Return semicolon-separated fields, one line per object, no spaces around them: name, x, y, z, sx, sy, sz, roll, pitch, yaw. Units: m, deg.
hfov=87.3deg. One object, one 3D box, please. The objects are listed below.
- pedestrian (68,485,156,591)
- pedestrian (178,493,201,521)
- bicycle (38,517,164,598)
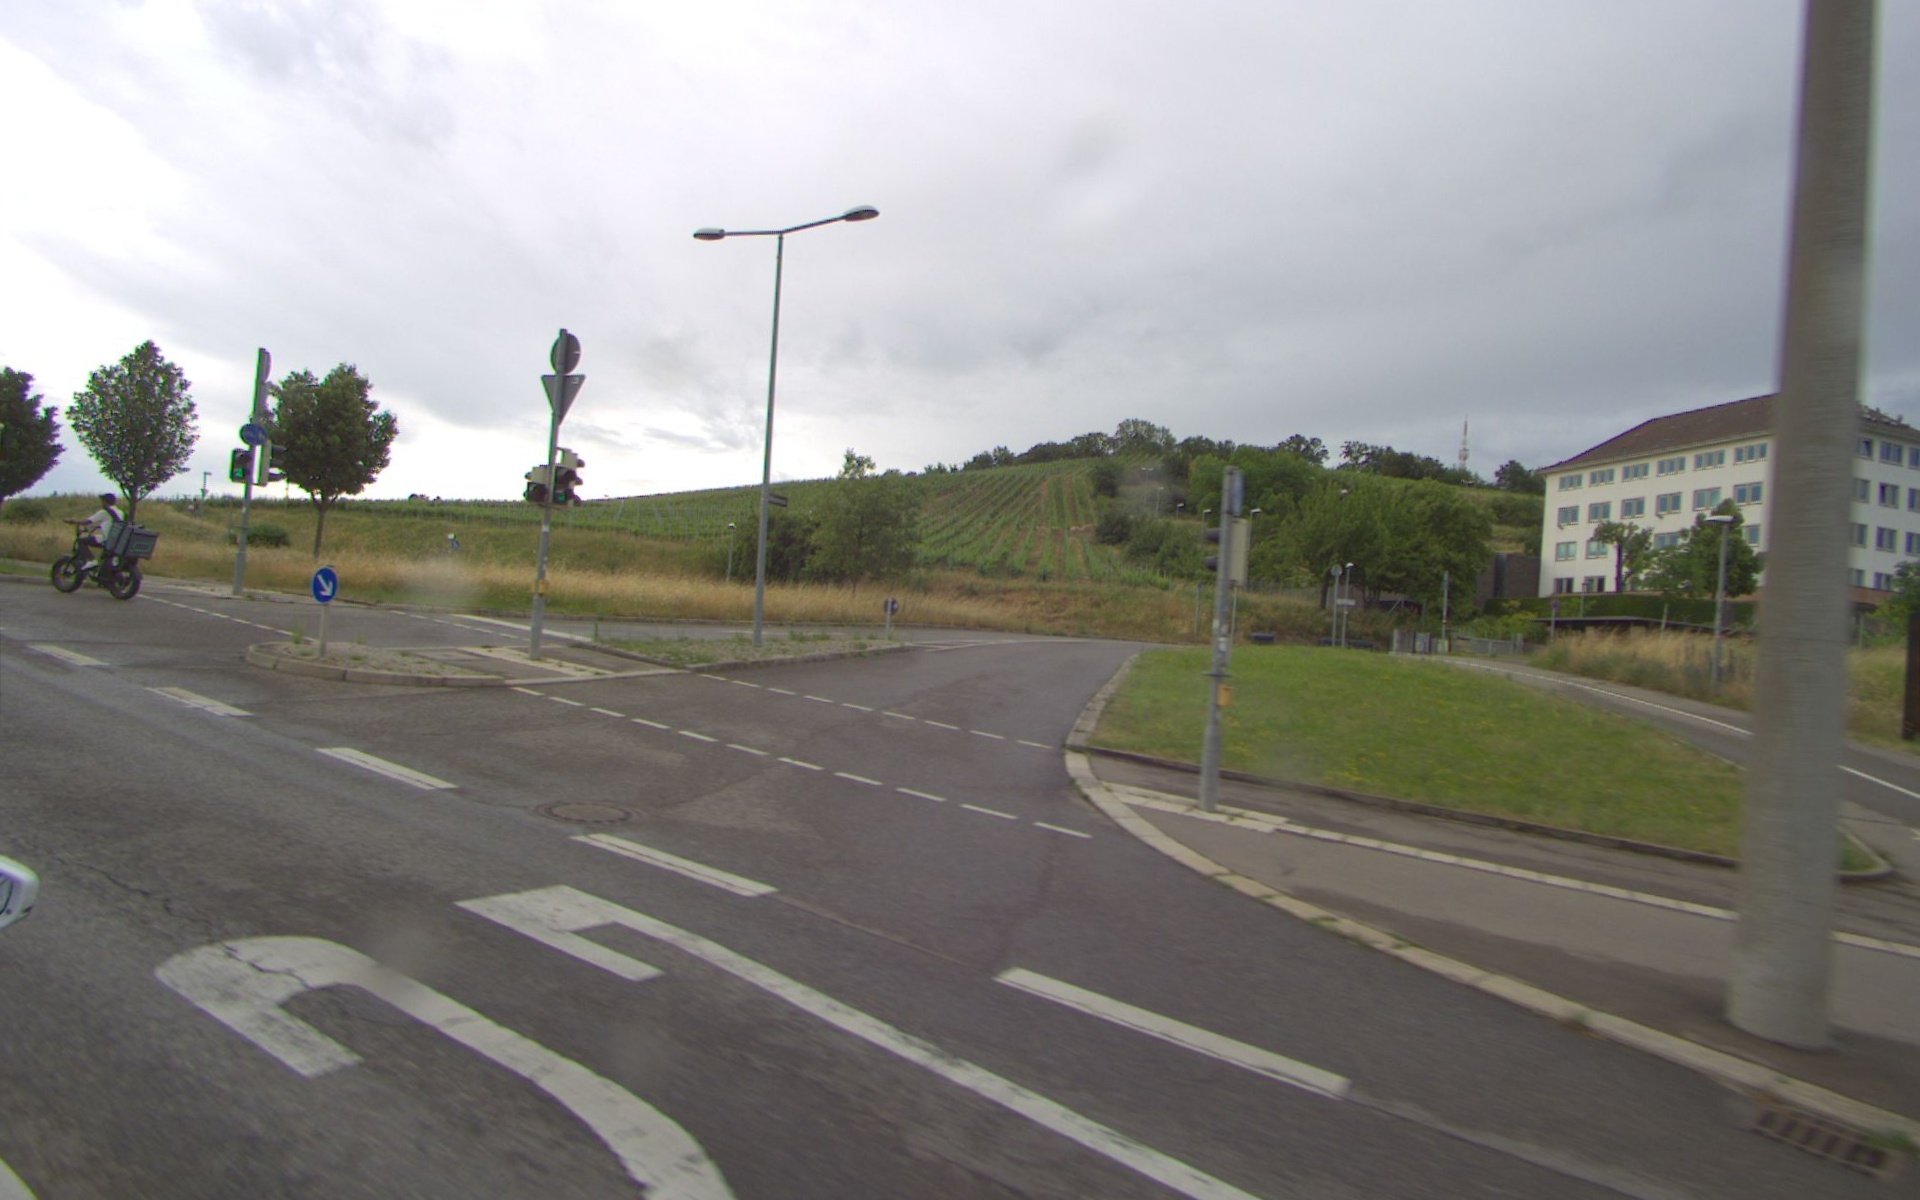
pedestrian;-13.794;-0.995;16.374;0.878;1.592;0.634;7;3;13
pedestrian;-60.312;-7.254;78.774;1.036;2.039;0.780;6;1;-1
bicycle;-13.986;-0.688;16.386;1.720;1.120;0.634;7;3;14
